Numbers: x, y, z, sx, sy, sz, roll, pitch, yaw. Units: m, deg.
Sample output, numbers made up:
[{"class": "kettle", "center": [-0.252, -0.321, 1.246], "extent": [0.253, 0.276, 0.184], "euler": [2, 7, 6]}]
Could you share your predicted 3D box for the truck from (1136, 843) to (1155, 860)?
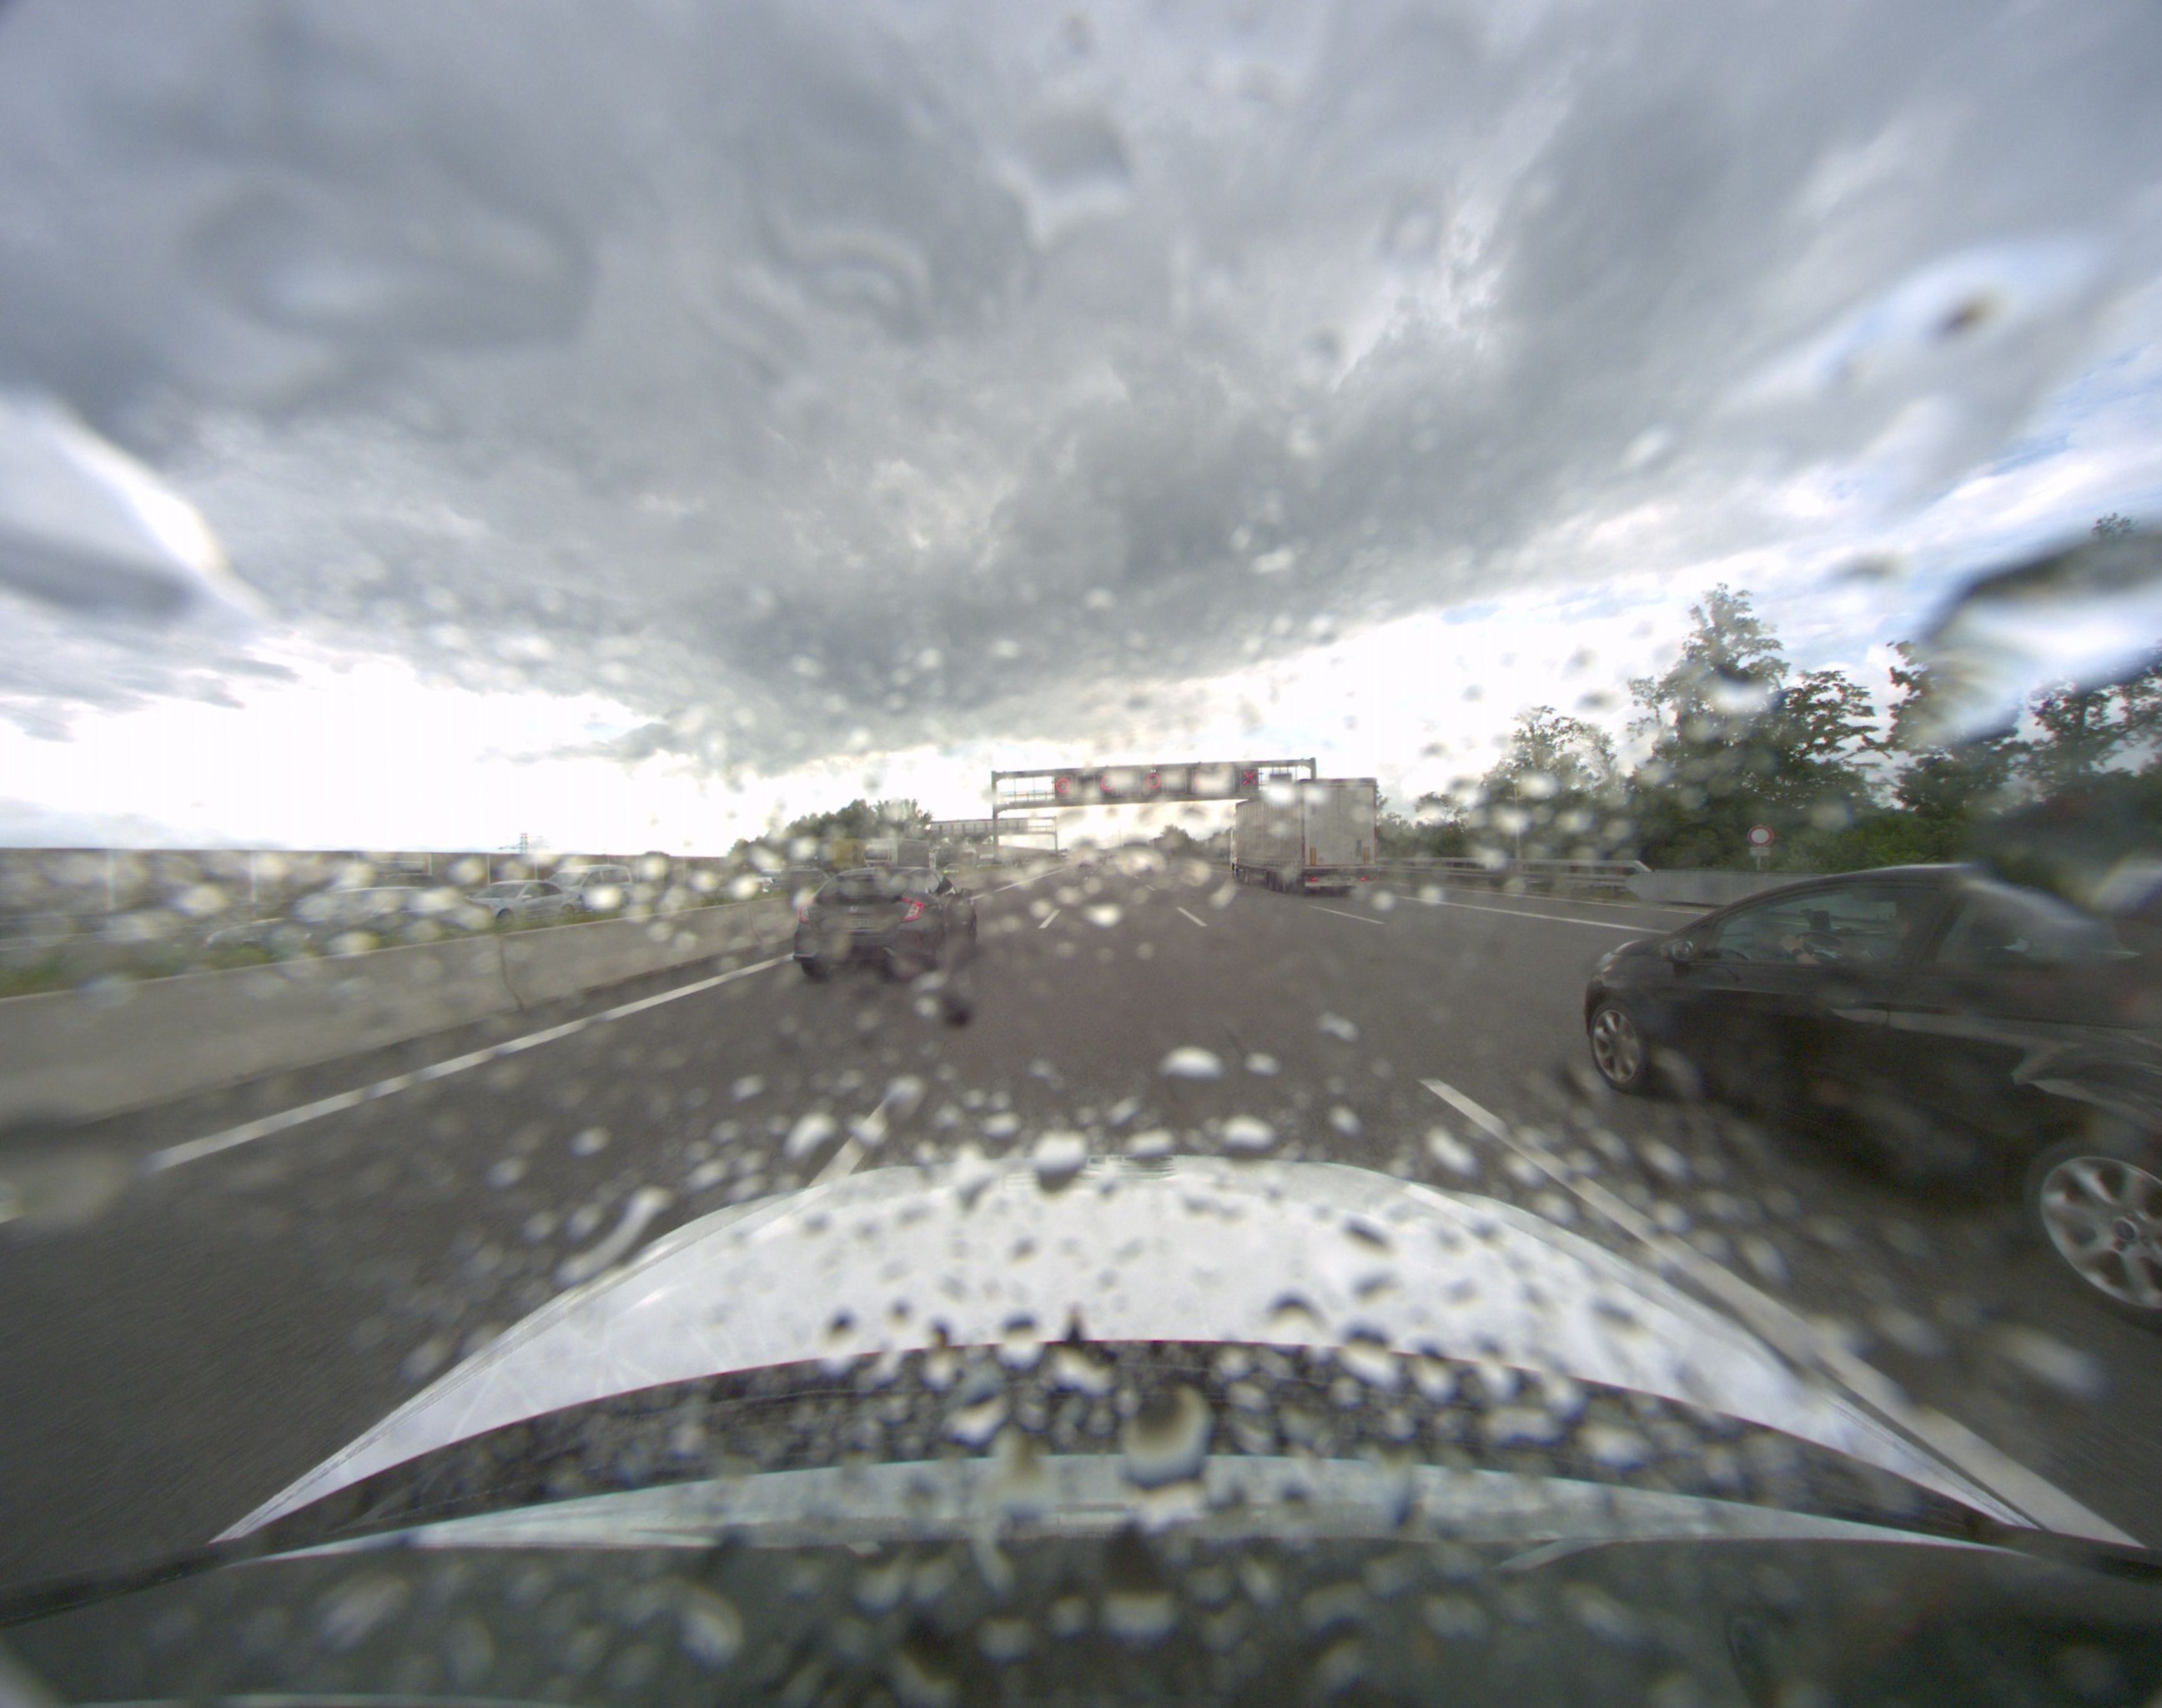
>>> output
[{"class": "truck", "center": [16.138, -0.513, 205.178], "extent": [4.228, 4.176, 11.994], "euler": [0, 0, 2]}]

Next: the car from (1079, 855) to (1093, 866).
[{"class": "car", "center": [0.684, 0.820, 112.419], "extent": [1.766, 1.441, 3.873], "euler": [-1, 0, 0]}]

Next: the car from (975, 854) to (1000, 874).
[{"class": "car", "center": [-10.979, 1.167, 96.012], "extent": [2.129, 2.351, 5.711], "euler": [0, 0, 1]}]

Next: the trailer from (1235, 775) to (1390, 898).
[{"class": "trailer", "center": [8.998, -0.611, 34.029], "extent": [2.950, 4.020, 14.126], "euler": [-1, 0, 2]}]

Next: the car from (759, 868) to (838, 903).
[{"class": "car", "center": [-12.584, 1.369, 36.617], "extent": [1.781, 1.381, 4.861], "euler": [0, 0, 1]}]

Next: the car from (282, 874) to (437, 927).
[{"class": "car", "center": [-24.767, 1.555, 28.177], "extent": [1.781, 1.597, 3.956], "euler": [0, 0, 1]}]

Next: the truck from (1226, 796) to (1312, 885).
[{"class": "truck", "center": [9.235, -0.622, 40.730], "extent": [2.950, 4.020, 6.592], "euler": [-1, 0, 2]}]

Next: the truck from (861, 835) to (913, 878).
[{"class": "truck", "center": [-18.641, 0.208, 78.694], "extent": [2.874, 3.961, 7.540], "euler": [0, 0, 2]}]

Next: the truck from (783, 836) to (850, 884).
[{"class": "truck", "center": [-23.631, 0.532, 73.214], "extent": [3.017, 3.933, 7.715], "euler": [-2, -1, 3]}]

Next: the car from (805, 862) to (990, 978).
[{"class": "car", "center": [-2.614, 0.864, 12.893], "extent": [1.755, 1.369, 5.059], "euler": [-1, 0, 0]}]

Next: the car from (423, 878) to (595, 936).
[{"class": "car", "center": [-17.066, 1.525, 24.649], "extent": [1.710, 1.426, 4.861], "euler": [0, 0, 1]}]

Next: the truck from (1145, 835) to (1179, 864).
[{"class": "truck", "center": [12.391, -0.656, 125.170], "extent": [4.165, 4.288, 12.614], "euler": [0, 0, 1]}]

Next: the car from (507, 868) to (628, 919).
[{"class": "car", "center": [-19.951, 1.479, 31.893], "extent": [1.784, 1.739, 4.578], "euler": [0, 0, 1]}]

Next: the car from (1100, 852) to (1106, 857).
[{"class": "car", "center": [6.695, 0.274, 250.634], "extent": [1.766, 1.441, 4.057], "euler": [-1, 0, 2]}]

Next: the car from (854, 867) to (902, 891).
[{"class": "car", "center": [-12.513, 1.518, 50.439], "extent": [1.781, 1.381, 4.590], "euler": [0, 0, 1]}]

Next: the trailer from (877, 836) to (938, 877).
[{"class": "trailer", "center": [-18.280, 0.258, 87.032], "extent": [2.874, 3.961, 14.307], "euler": [0, 0, 3]}]

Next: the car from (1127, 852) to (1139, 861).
[{"class": "car", "center": [8.597, 0.411, 134.431], "extent": [1.829, 1.441, 4.057], "euler": [-1, 0, 2]}]

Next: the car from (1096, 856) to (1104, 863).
[{"class": "car", "center": [4.575, 1.287, 193.264], "extent": [1.767, 1.441, 4.054], "euler": [-1, 0, -1]}]

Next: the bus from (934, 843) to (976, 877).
[{"class": "bus", "center": [-14.719, 0.720, 95.903], "extent": [2.643, 3.679, 10.641], "euler": [-2, -1, 3]}]

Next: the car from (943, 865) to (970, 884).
[{"class": "car", "center": [-11.052, 1.802, 72.595], "extent": [1.730, 1.539, 4.377], "euler": [0, 0, 1]}]

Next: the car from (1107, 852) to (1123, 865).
[{"class": "car", "center": [4.045, 0.506, 97.220], "extent": [1.767, 1.441, 4.055], "euler": [-1, 0, 0]}]

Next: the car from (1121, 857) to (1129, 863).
[{"class": "car", "center": [10.297, 1.470, 192.273], "extent": [1.829, 1.441, 4.057], "euler": [-1, 0, 2]}]

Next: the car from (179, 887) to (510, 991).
[{"class": "car", "center": [-13.229, 1.431, 15.177], "extent": [1.710, 1.426, 4.861], "euler": [0, 0, 1]}]

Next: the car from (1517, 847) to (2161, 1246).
[{"class": "car", "center": [4.004, 0.707, 4.581], "extent": [1.442, 1.441, 3.164], "euler": [-1, 0, 1]}]

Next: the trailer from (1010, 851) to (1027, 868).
[{"class": "trailer", "center": [-12.098, 1.053, 157.566], "extent": [2.439, 3.138, 6.054], "euler": [-2, 0, 3]}]

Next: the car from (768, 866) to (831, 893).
[{"class": "car", "center": [-15.816, 1.409, 46.063], "extent": [1.781, 1.381, 4.861], "euler": [0, 0, 1]}]

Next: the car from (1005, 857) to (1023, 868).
[{"class": "car", "center": [-12.371, 1.563, 151.429], "extent": [2.439, 2.051, 6.197], "euler": [-2, 0, 3]}]

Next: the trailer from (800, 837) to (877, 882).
[{"class": "trailer", "center": [-23.337, 0.530, 79.390], "extent": [3.017, 3.933, 12.982], "euler": [-2, -1, 3]}]

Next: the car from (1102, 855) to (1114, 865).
[{"class": "car", "center": [4.215, 0.903, 126.322], "extent": [1.767, 1.441, 4.055], "euler": [-1, 0, 0]}]

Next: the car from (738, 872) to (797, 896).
[{"class": "car", "center": [-19.657, 1.856, 51.313], "extent": [1.781, 1.381, 4.861], "euler": [0, 0, 1]}]
